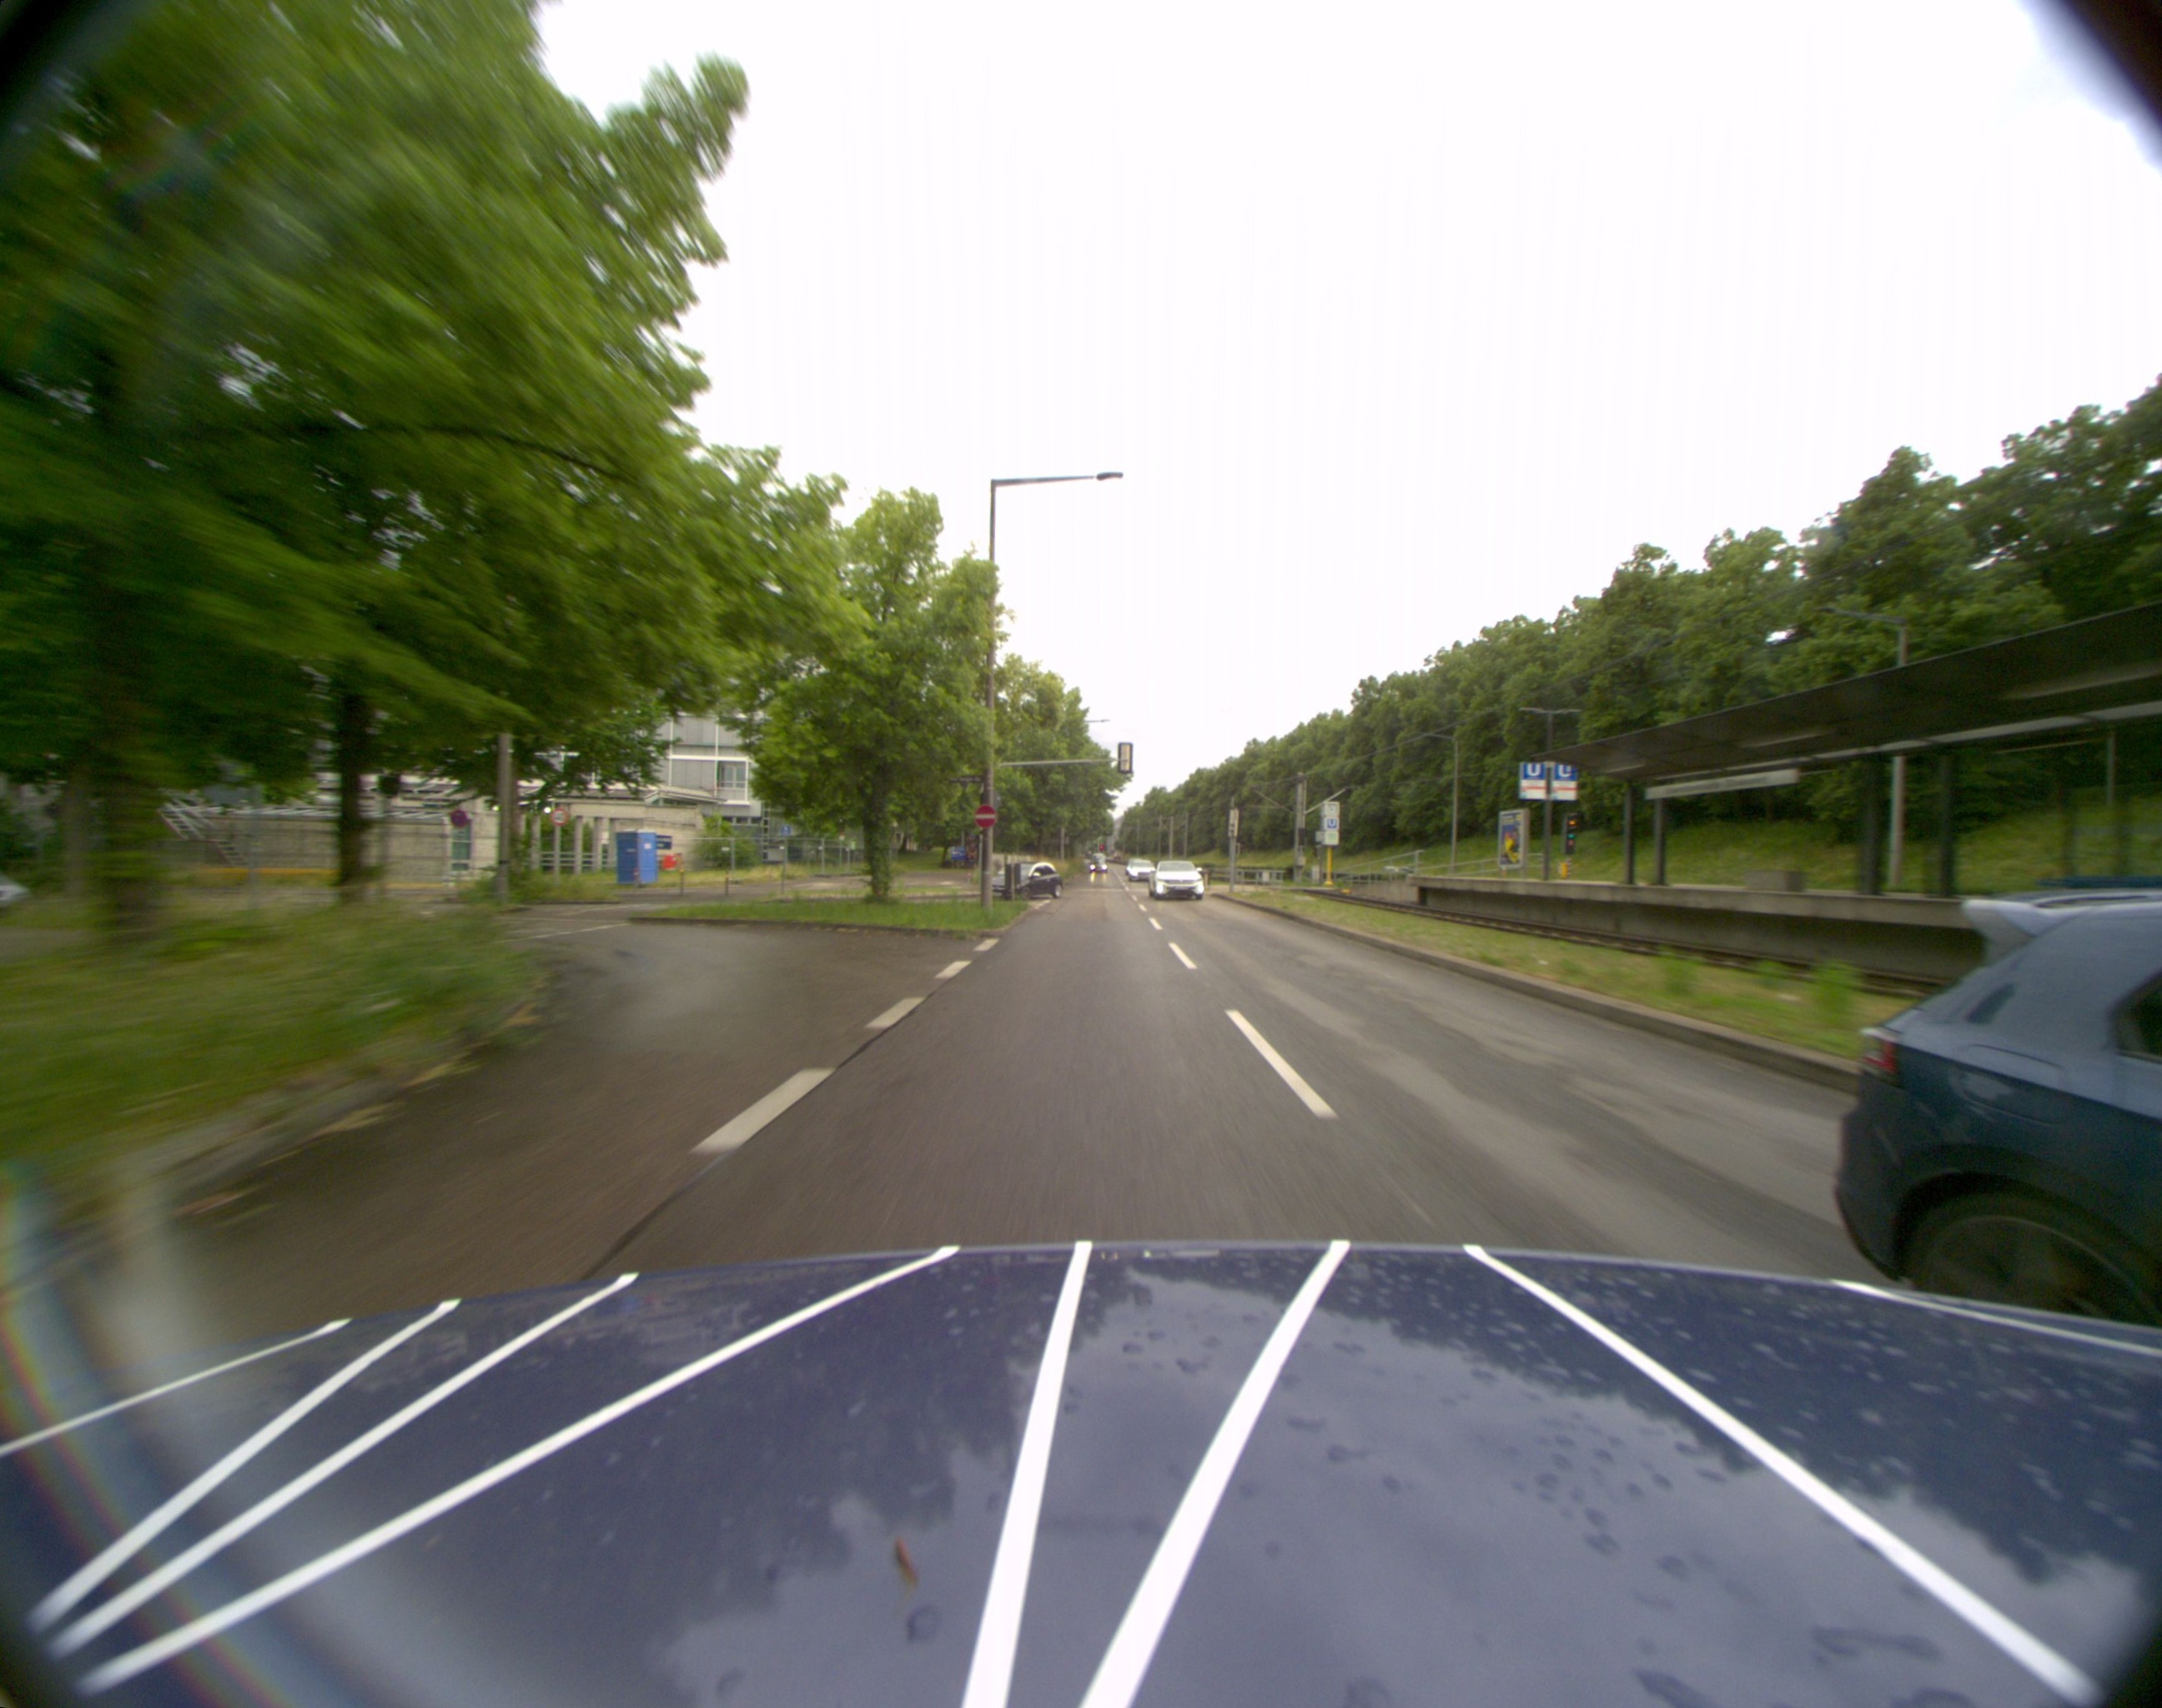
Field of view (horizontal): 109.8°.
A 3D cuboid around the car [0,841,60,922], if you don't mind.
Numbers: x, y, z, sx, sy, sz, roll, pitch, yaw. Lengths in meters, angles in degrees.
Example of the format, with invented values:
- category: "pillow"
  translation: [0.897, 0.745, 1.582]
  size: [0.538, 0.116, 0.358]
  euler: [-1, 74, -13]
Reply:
- category: "car"
  translation: [-23.889, 0.513, 15.503]
  size: [4.105, 1.632, 1.759]
  euler: [1, -2, 6]

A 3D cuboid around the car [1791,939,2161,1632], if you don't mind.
- category: "car"
  translation: [3.154, 0.949, 0.268]
  size: [1.812, 1.370, 4.347]
  euler: [0, 0, 1]

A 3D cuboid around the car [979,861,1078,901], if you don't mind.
- category: "car"
  translation: [-1.988, 1.015, 30.137]
  size: [1.707, 1.425, 4.438]
  euler: [1, 0, 31]

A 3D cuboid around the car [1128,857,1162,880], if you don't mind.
- category: "car"
  translation: [4.348, 0.947, 52.214]
  size: [1.960, 1.472, 4.699]
  euler: [-1, 0, 1]

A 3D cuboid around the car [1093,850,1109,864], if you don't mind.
- category: "car"
  translation: [2.818, 0.453, 109.114]
  size: [1.960, 1.914, 4.844]
  euler: [-1, 0, -2]

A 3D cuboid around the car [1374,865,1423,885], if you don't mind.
- category: "car"
  translation: [24.141, 1.598, 57.937]
  size: [1.801, 1.395, 3.998]
  euler: [1, 0, -4]

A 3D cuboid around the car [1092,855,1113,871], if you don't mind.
- category: "car"
  translation: [2.058, 0.846, 74.389]
  size: [1.960, 1.469, 4.699]
  euler: [-1, 0, 1]

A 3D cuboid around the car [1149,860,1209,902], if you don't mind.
- category: "car"
  translation: [3.792, 0.998, 30.071]
  size: [1.960, 1.457, 4.700]
  euler: [1, 0, 3]
